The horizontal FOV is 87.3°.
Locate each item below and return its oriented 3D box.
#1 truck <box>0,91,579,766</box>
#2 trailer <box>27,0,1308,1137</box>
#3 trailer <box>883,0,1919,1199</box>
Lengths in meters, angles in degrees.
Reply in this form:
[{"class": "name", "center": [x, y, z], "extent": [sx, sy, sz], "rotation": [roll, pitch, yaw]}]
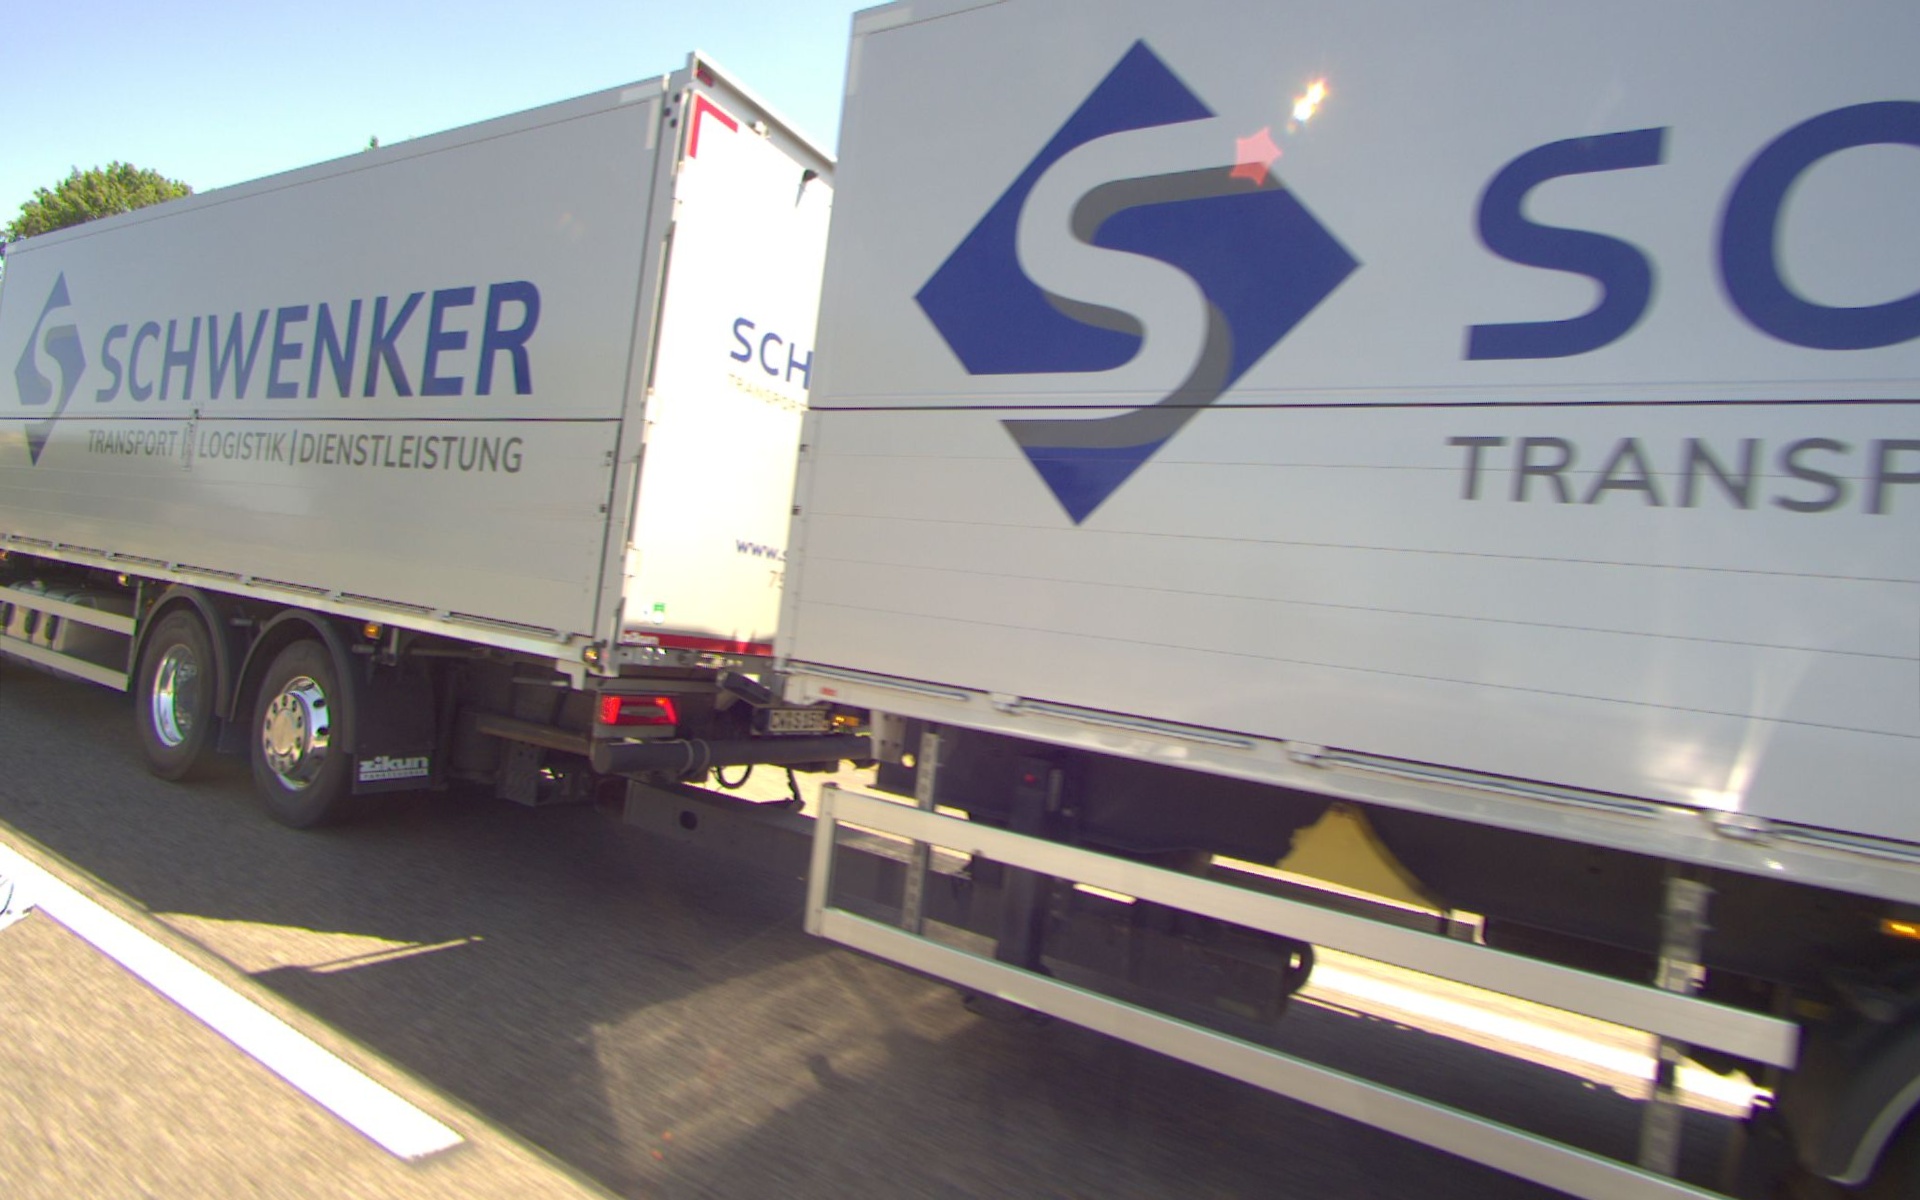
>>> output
[{"class": "truck", "center": [-7.058, -1.200, 9.055], "extent": [6.756, 4.077, 2.894], "rotation": [6, -1, 32]}, {"class": "trailer", "center": [-2.145, -0.668, 6.062], "extent": [7.195, 4.088, 2.925], "rotation": [6, -1, 31]}, {"class": "trailer", "center": [4.151, 0.021, 2.186], "extent": [7.993, 4.110, 2.951], "rotation": [6, -1, 31]}]
